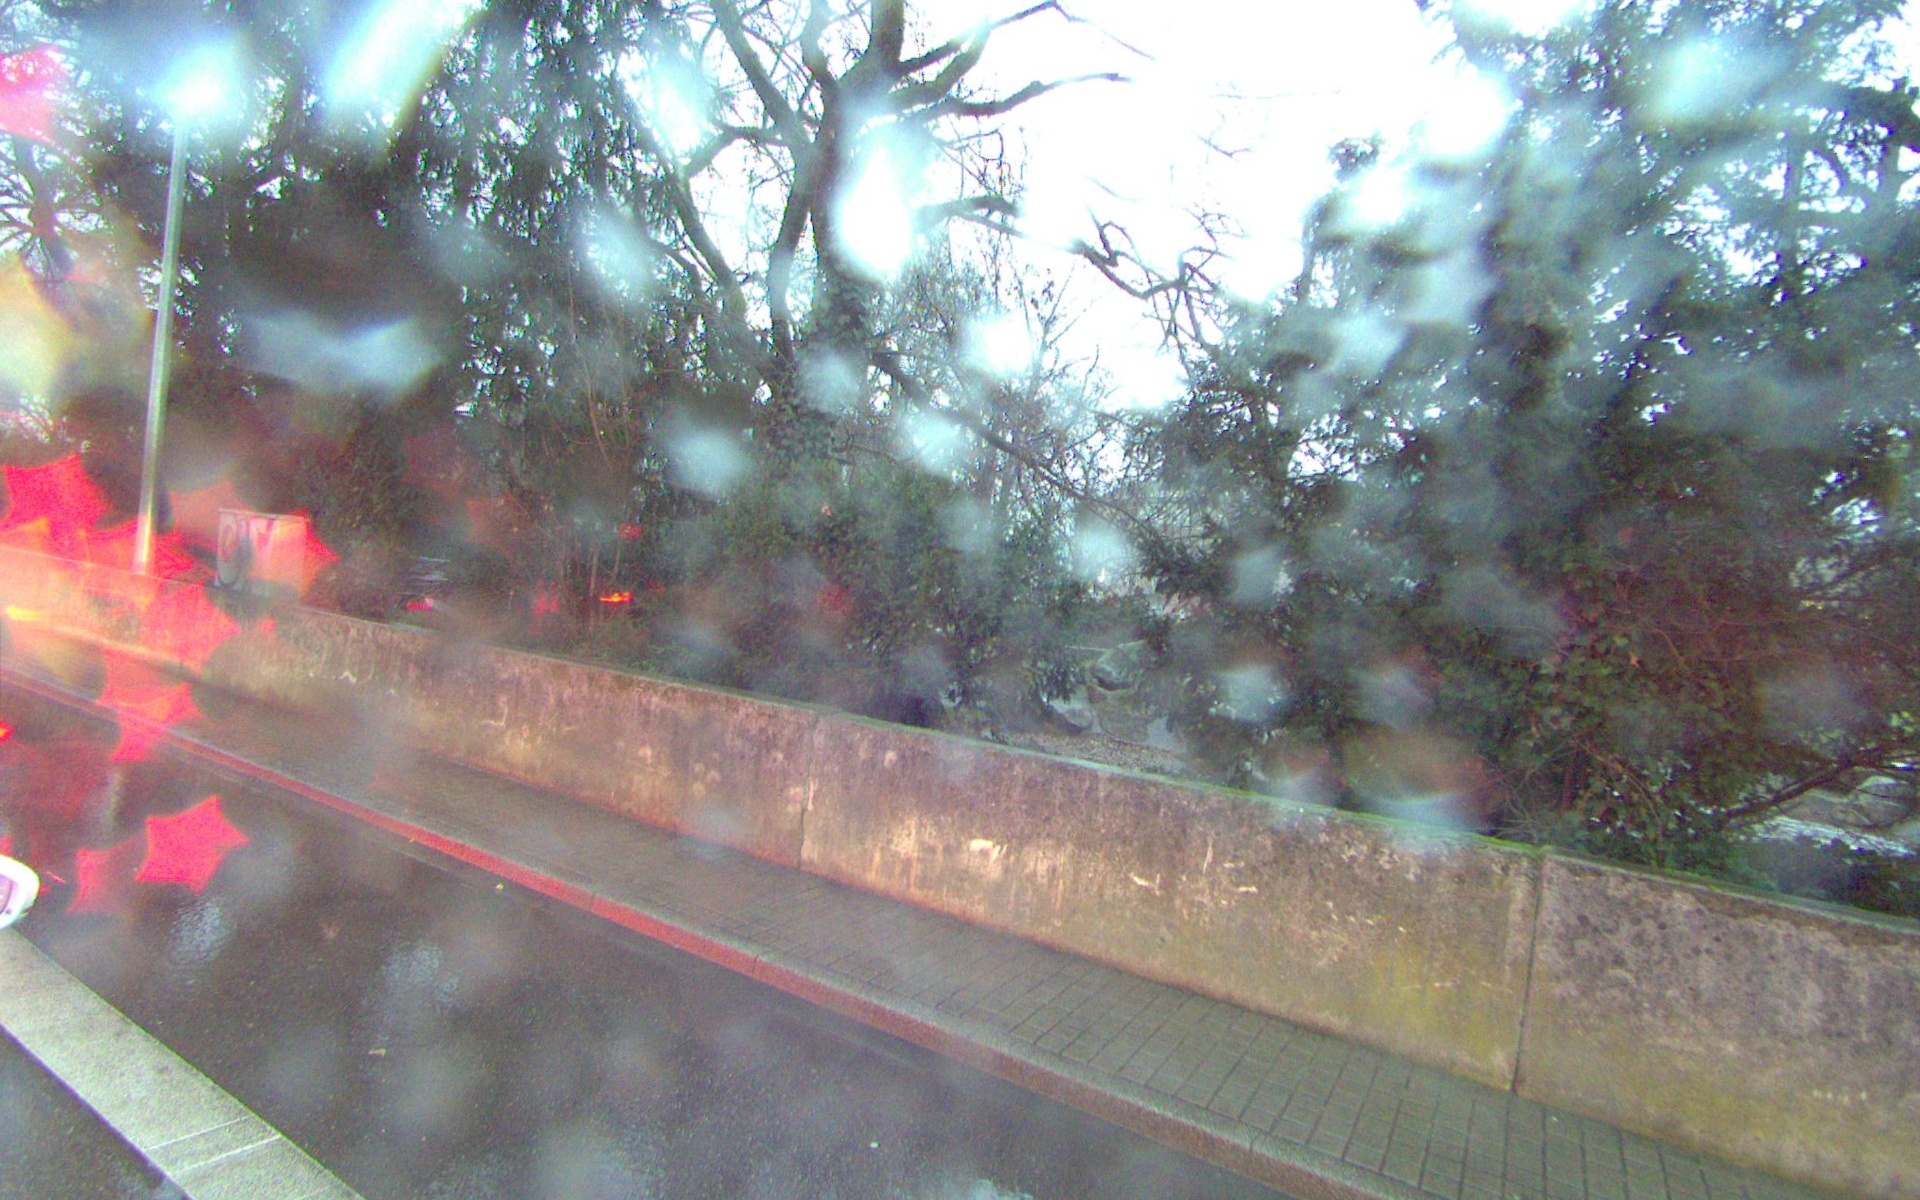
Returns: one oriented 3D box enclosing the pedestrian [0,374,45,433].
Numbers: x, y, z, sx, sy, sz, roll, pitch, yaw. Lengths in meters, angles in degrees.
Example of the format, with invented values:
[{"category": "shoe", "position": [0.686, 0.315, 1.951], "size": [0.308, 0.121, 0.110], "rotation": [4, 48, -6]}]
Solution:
[{"category": "pedestrian", "position": [-36.552, -7.652, 39.229], "size": [0.991, 2.039, 0.959], "rotation": [7, 1, 32]}]
